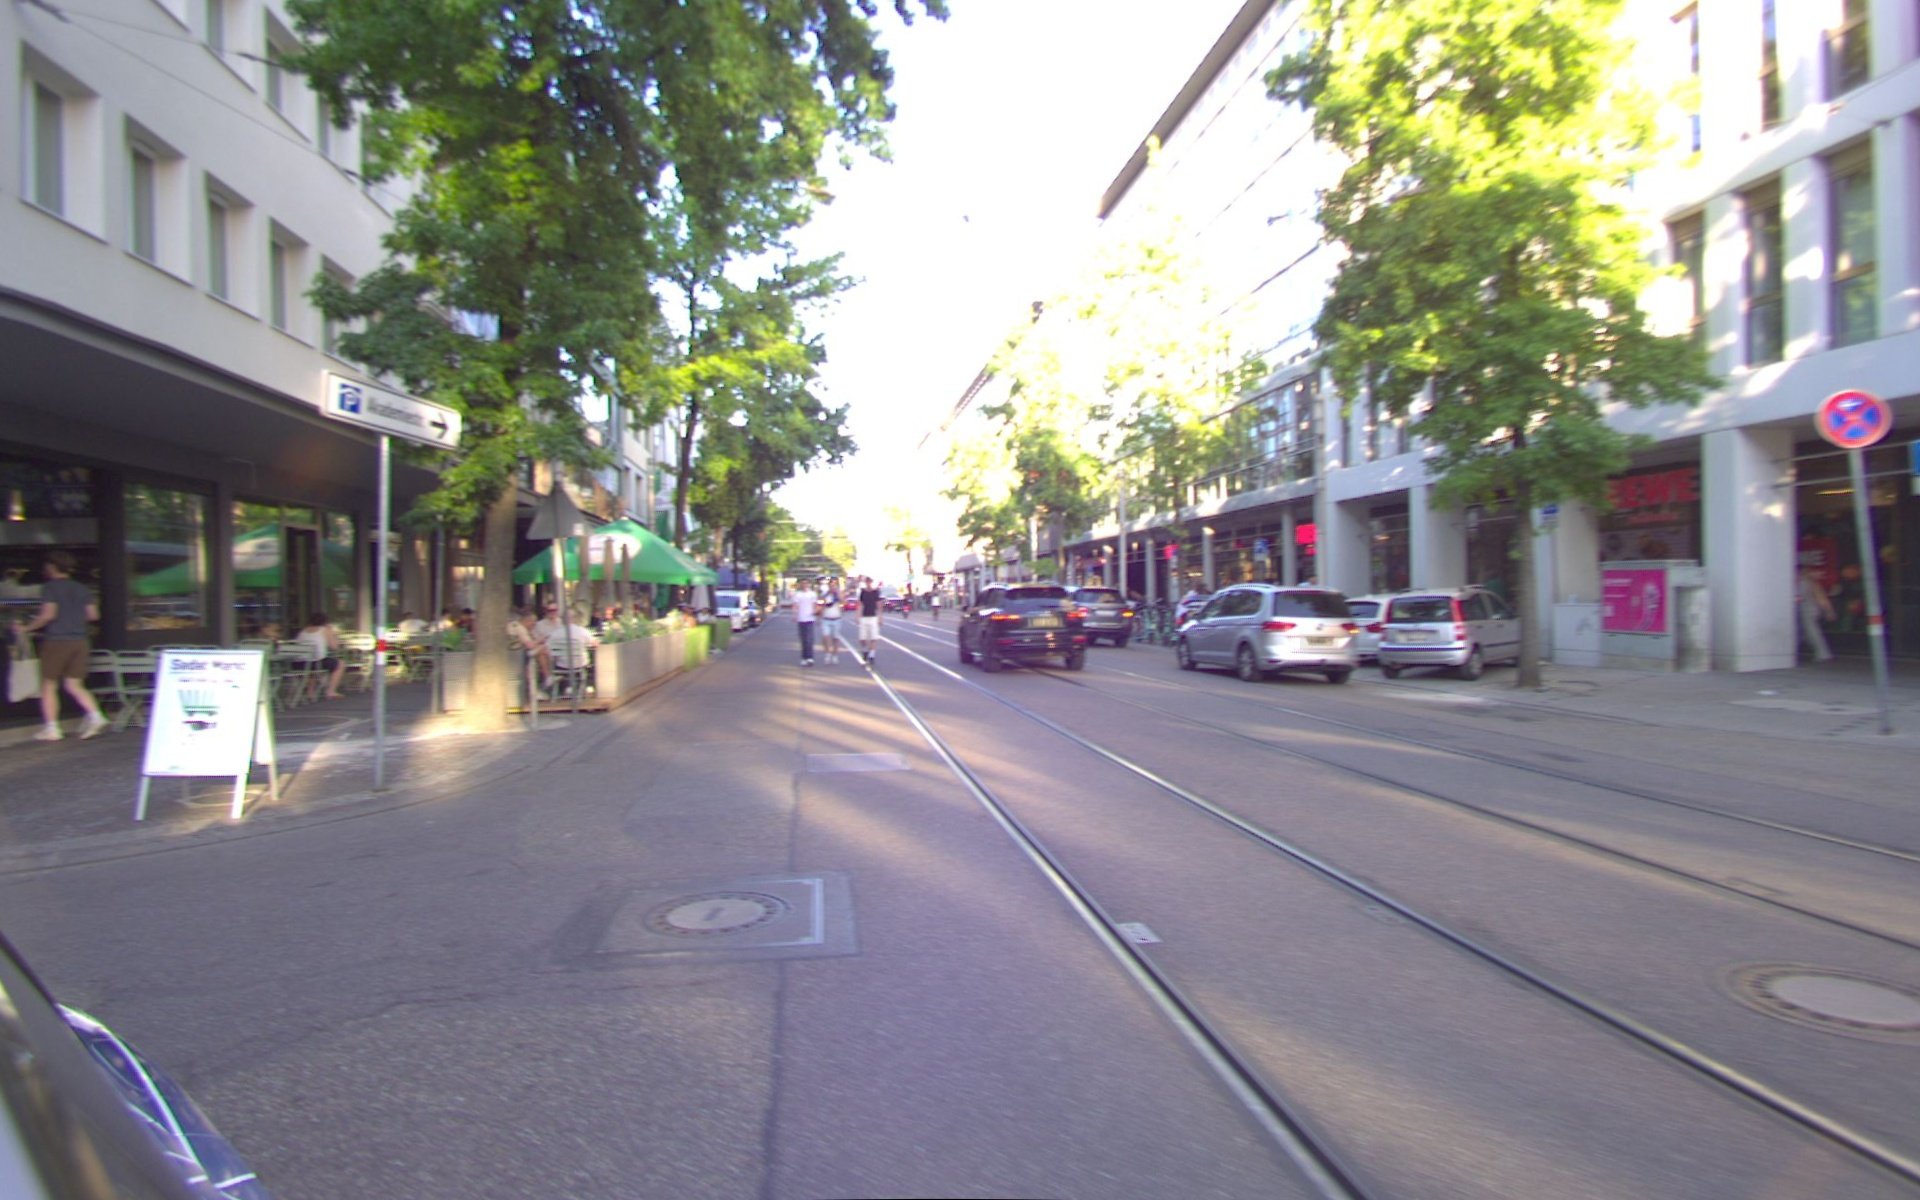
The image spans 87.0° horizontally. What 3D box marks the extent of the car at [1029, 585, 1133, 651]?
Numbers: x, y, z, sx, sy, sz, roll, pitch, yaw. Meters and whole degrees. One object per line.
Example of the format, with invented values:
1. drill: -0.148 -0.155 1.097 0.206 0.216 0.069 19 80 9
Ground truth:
1. car: 3.530 0.501 30.319 2.008 1.820 4.208 0 0 -9

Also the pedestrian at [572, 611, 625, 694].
1. pedestrian: -6.013 0.863 16.845 0.706 1.339 0.625 -1 0 -7

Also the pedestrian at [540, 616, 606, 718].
1. pedestrian: -5.269 0.893 13.812 0.706 1.339 0.625 -1 0 -7

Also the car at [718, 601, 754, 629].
1. car: -11.639 0.758 52.749 1.688 1.335 3.602 -1 0 -11

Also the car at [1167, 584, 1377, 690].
1. car: 5.308 0.585 17.860 1.860 1.624 4.208 1 0 -9

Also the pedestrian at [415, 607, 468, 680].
1. pedestrian: -9.752 0.812 19.049 0.706 1.339 0.625 -1 0 -7

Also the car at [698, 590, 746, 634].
1. car: -10.850 0.509 46.409 1.971 1.856 4.980 1 0 -11

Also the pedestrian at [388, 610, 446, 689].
1. pedestrian: -9.515 0.859 17.755 0.706 1.339 0.625 -1 0 -7

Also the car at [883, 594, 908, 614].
1. car: -6.235 0.362 97.886 1.968 1.896 4.008 -1 0 -10

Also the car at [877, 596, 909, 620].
1. car: -4.695 0.570 70.525 1.688 1.608 4.009 -1 0 -11

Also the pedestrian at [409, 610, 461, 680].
1. pedestrian: -10.239 0.868 19.750 0.706 1.339 0.625 -1 0 -7

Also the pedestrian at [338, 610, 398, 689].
1. pedestrian: -10.300 0.853 17.634 0.706 1.339 0.625 -1 0 -7

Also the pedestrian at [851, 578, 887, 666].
1. pedestrian: -2.046 0.483 22.759 0.761 1.948 0.874 -1 0 -6

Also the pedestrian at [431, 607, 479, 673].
1. pedestrian: -10.379 0.810 20.816 0.706 1.339 0.625 -1 0 -7

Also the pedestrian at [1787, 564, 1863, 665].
1. pedestrian: 14.221 0.237 16.661 0.653 1.612 0.713 -1 0 10

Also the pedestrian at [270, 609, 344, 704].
1. pedestrian: -9.526 0.810 14.778 0.706 1.339 0.625 -1 0 -7

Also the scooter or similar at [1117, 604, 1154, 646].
1. scooter or similar: 5.525 0.761 32.008 0.571 1.257 2.128 -1 0 -6

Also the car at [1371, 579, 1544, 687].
1. car: 8.891 0.524 17.975 1.790 1.571 3.352 -2 2 44

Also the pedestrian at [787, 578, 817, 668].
1. pedestrian: -3.502 0.502 22.469 0.589 1.948 0.874 -1 0 -6

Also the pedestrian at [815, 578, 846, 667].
1. pedestrian: -2.895 0.494 22.702 0.662 1.948 0.874 -1 0 -6

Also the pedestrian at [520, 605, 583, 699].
1. pedestrian: -5.996 0.743 14.879 0.706 1.339 0.625 -1 0 -7

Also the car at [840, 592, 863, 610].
1. car: -11.850 0.097 110.225 2.183 1.874 4.008 -1 0 -10

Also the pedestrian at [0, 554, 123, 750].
1. pedestrian: -9.271 0.512 10.361 0.719 1.924 0.801 -1 0 4

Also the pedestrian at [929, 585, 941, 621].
1. pedestrian: -1.559 0.176 62.390 0.618 2.200 0.765 -1 0 -11

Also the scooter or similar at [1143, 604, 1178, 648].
1. scooter or similar: 5.960 0.756 30.186 0.535 1.257 1.685 -1 0 -6

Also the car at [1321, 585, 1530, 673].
1. car: 9.690 0.540 21.009 4.244 1.423 1.583 -4 2 -26

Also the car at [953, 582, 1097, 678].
1. car: 1.174 0.536 20.452 2.008 1.699 4.208 -1 0 -9

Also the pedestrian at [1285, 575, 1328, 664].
1. pedestrian: 7.771 0.423 22.710 0.646 1.948 0.724 -1 0 -6

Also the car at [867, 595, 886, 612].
1. car: -9.914 0.405 119.828 1.968 1.896 4.008 -1 0 -10

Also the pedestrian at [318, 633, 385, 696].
1. pedestrian: -9.646 1.011 16.060 0.706 0.939 0.625 -1 0 -7

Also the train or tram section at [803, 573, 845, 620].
1. train or tram section: -12.814 -0.275 94.663 3.552 4.028 15.744 -1 0 -8

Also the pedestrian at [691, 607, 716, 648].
1. pedestrian: -8.444 0.891 33.300 0.706 1.339 0.625 -1 0 -7

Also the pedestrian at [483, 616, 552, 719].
1. pedestrian: -6.000 0.902 13.747 0.706 1.339 0.625 -1 0 -7
